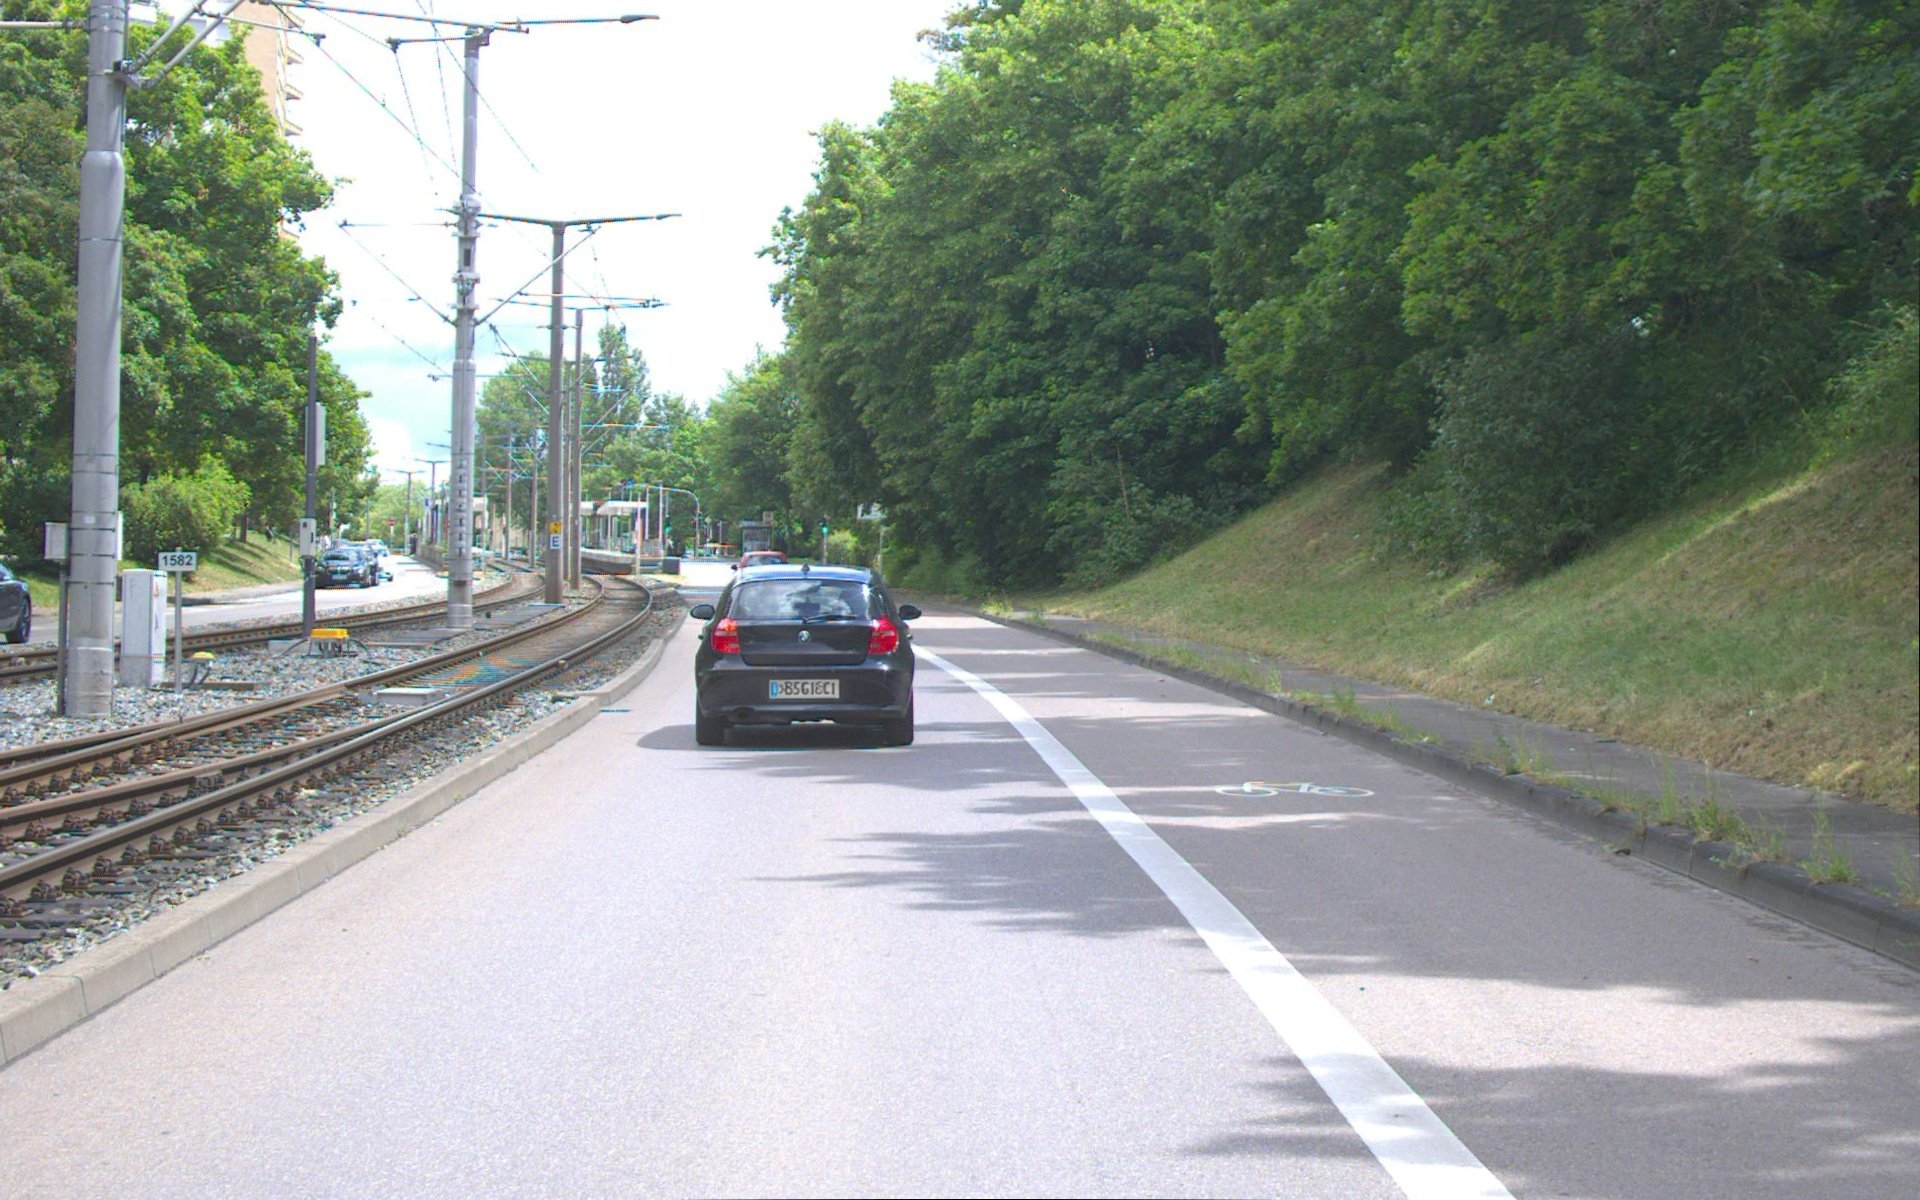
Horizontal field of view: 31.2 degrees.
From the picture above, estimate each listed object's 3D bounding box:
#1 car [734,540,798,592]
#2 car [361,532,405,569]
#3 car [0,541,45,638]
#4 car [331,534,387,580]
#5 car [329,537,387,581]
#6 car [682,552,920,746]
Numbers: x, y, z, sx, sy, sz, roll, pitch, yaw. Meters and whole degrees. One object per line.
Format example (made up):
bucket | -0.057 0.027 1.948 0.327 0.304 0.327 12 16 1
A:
car | -5.612 -0.982 99.340 1.781 1.454 3.922 1 1 -4
car | -24.176 -2.084 144.082 1.781 1.527 4.246 0 1 -10
car | -14.716 -0.134 49.482 1.835 1.386 4.862 -1 1 -1
car | -22.195 -1.578 127.091 1.774 1.624 4.383 0 0 -7
car | -21.098 -1.450 120.556 1.774 1.493 3.998 1 1 -7
car | -1.364 0.343 28.071 1.781 1.454 3.922 0 1 -5
